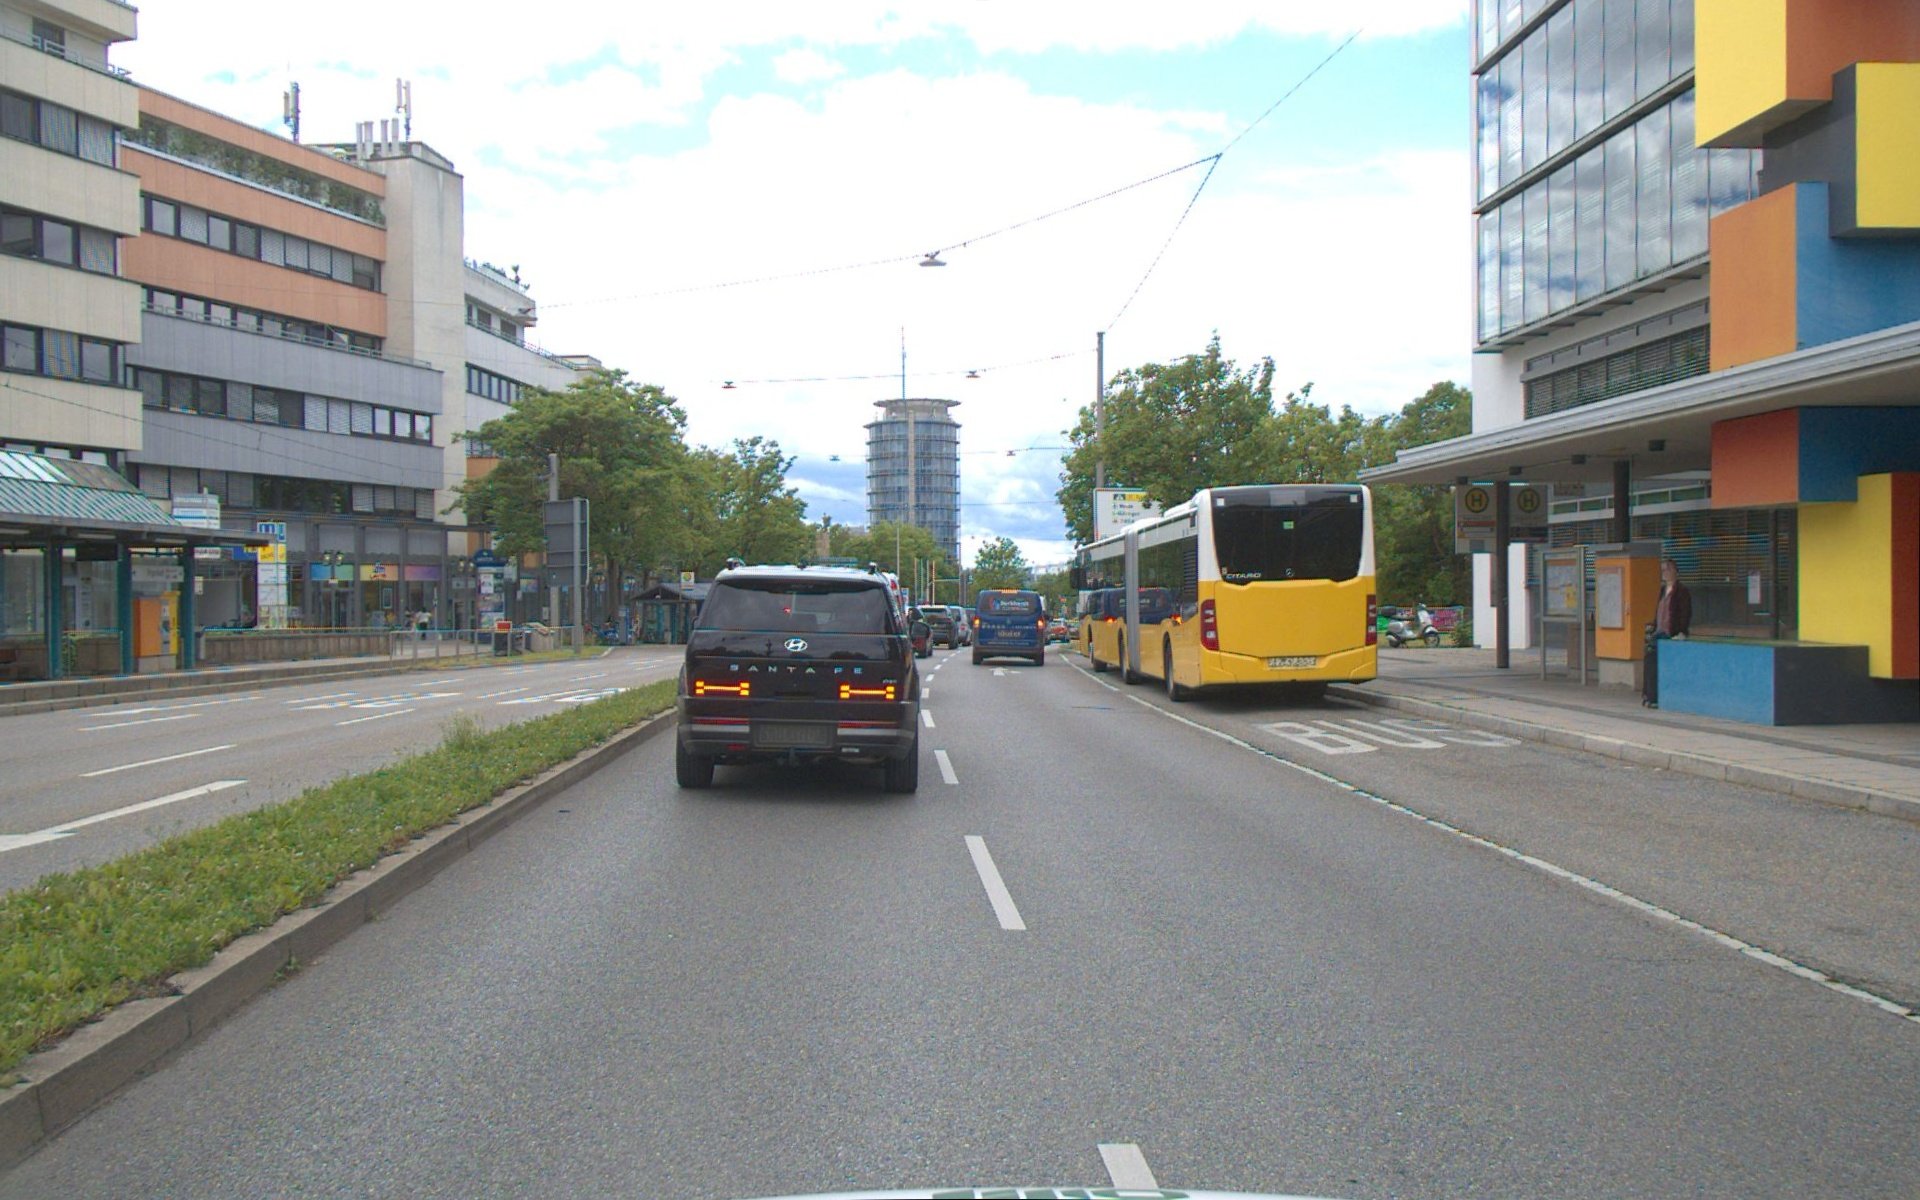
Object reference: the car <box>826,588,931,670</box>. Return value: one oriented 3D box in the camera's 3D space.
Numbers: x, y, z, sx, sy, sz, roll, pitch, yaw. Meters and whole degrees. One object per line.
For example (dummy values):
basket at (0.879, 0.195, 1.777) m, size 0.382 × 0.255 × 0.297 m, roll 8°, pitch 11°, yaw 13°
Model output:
car at (-1.832, 0.577, 35.774) m, size 1.866 × 1.569 × 4.701 m, roll 1°, pitch 1°, yaw -8°

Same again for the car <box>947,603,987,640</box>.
car at (0.411, 1.132, 88.920) m, size 1.862 × 1.866 × 4.711 m, roll -1°, pitch 0°, yaw 3°

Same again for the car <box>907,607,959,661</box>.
car at (-1.067, 1.272, 63.607) m, size 1.864 × 1.891 × 4.708 m, roll 1°, pitch 1°, yaw -2°

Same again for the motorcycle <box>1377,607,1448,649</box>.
motorcycle at (11.879, 0.727, 43.417) m, size 0.629 × 1.089 × 1.752 m, roll 0°, pitch 0°, yaw -41°

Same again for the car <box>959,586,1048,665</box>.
car at (1.087, 0.608, 43.467) m, size 1.864 × 1.891 × 4.706 m, roll 1°, pitch 1°, yaw -4°

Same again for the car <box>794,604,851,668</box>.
car at (-4.674, 1.194, 56.635) m, size 1.864 × 1.963 × 4.706 m, roll 1°, pitch 1°, yaw -4°

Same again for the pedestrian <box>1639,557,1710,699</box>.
pedestrian at (8.712, 0.332, 20.183) m, size 0.514 × 1.702 × 0.733 m, roll -1°, pitch 0°, yaw -2°

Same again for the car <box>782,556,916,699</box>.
car at (-1.700, 0.354, 25.825) m, size 1.864 × 2.003 × 4.633 m, roll 1°, pitch 1°, yaw -3°

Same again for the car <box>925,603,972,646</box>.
car at (-0.491, 1.109, 77.396) m, size 1.862 × 1.866 × 4.712 m, roll 1°, pitch 1°, yaw 3°

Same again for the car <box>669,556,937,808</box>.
car at (-1.269, 0.550, 13.927) m, size 1.865 × 1.761 × 4.442 m, roll 1°, pitch 1°, yaw -4°

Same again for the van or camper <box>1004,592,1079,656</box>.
van or camper at (2.687, 0.773, 55.616) m, size 1.954 × 1.951 × 4.405 m, roll 0°, pitch 2°, yaw -5°

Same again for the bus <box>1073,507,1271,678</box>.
bus at (4.387, -0.149, 36.535) m, size 2.892 × 3.166 × 9.974 m, roll -2°, pitch 0°, yaw -1°

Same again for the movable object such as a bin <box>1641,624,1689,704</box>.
movable object such as a bin at (8.327, 0.750, 19.543) m, size 0.349 × 0.913 × 0.462 m, roll -1°, pitch 0°, yaw -2°

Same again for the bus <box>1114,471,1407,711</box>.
bus at (4.504, -0.130, 27.024) m, size 2.906 × 3.171 × 9.242 m, roll -2°, pitch 0°, yaw -1°

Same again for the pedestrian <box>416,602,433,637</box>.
pedestrian at (-26.007, 0.941, 80.318) m, size 0.717 × 1.702 × 0.581 m, roll -1°, pitch 0°, yaw -8°
